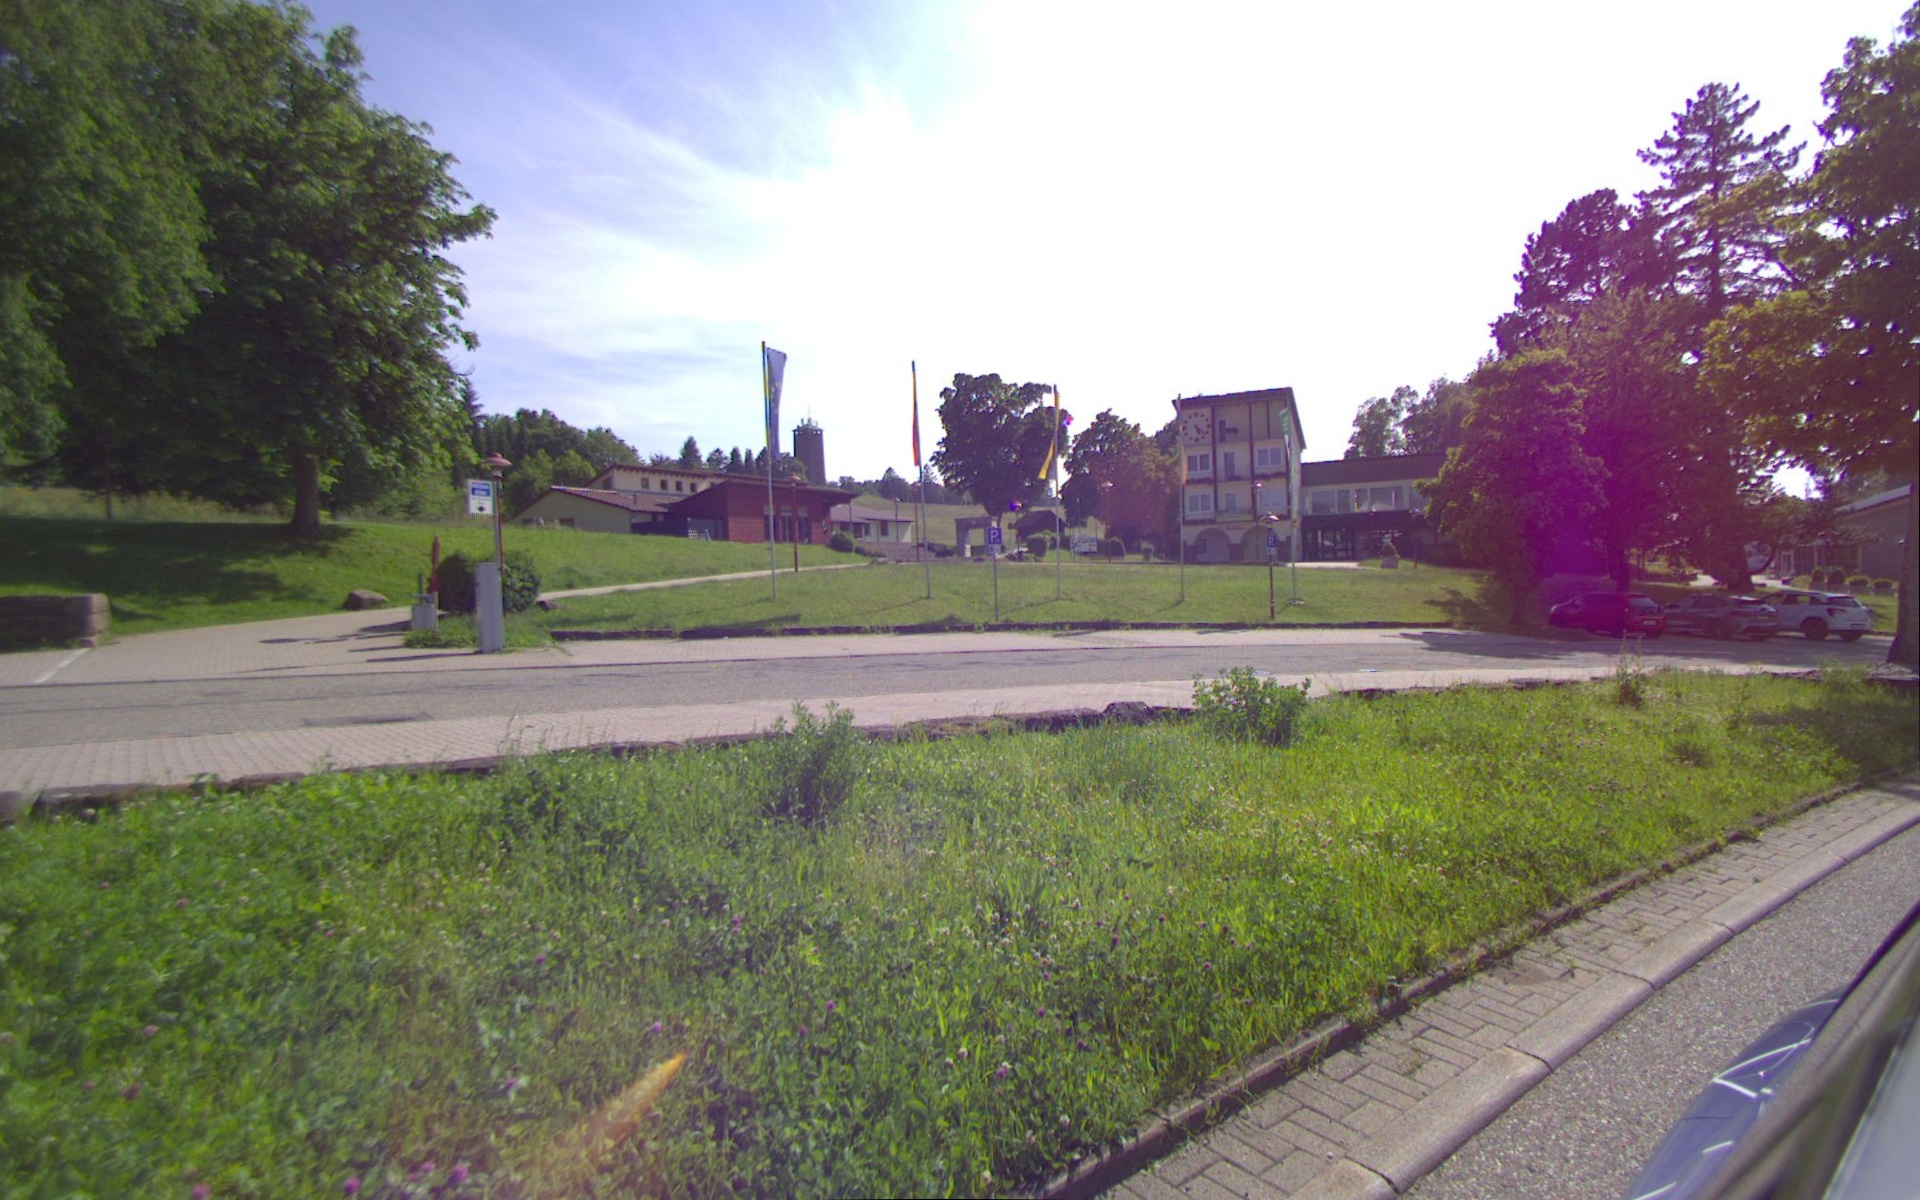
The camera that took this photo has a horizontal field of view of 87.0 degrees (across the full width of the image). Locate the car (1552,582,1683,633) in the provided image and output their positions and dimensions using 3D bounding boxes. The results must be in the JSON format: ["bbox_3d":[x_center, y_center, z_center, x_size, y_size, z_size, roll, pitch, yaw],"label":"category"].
[{"bbox_3d":[21.604,0.195,33.395,1.678,1.420,3.322,0,4,-13],"label":"car"}]

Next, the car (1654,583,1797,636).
[{"bbox_3d":[25.177,0.269,33.449,1.651,1.444,3.548,2,4,-9],"label":"car"}]

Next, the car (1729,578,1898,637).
[{"bbox_3d":[29.074,0.202,34.651,1.959,1.637,4.009,2,4,-9],"label":"car"}]
